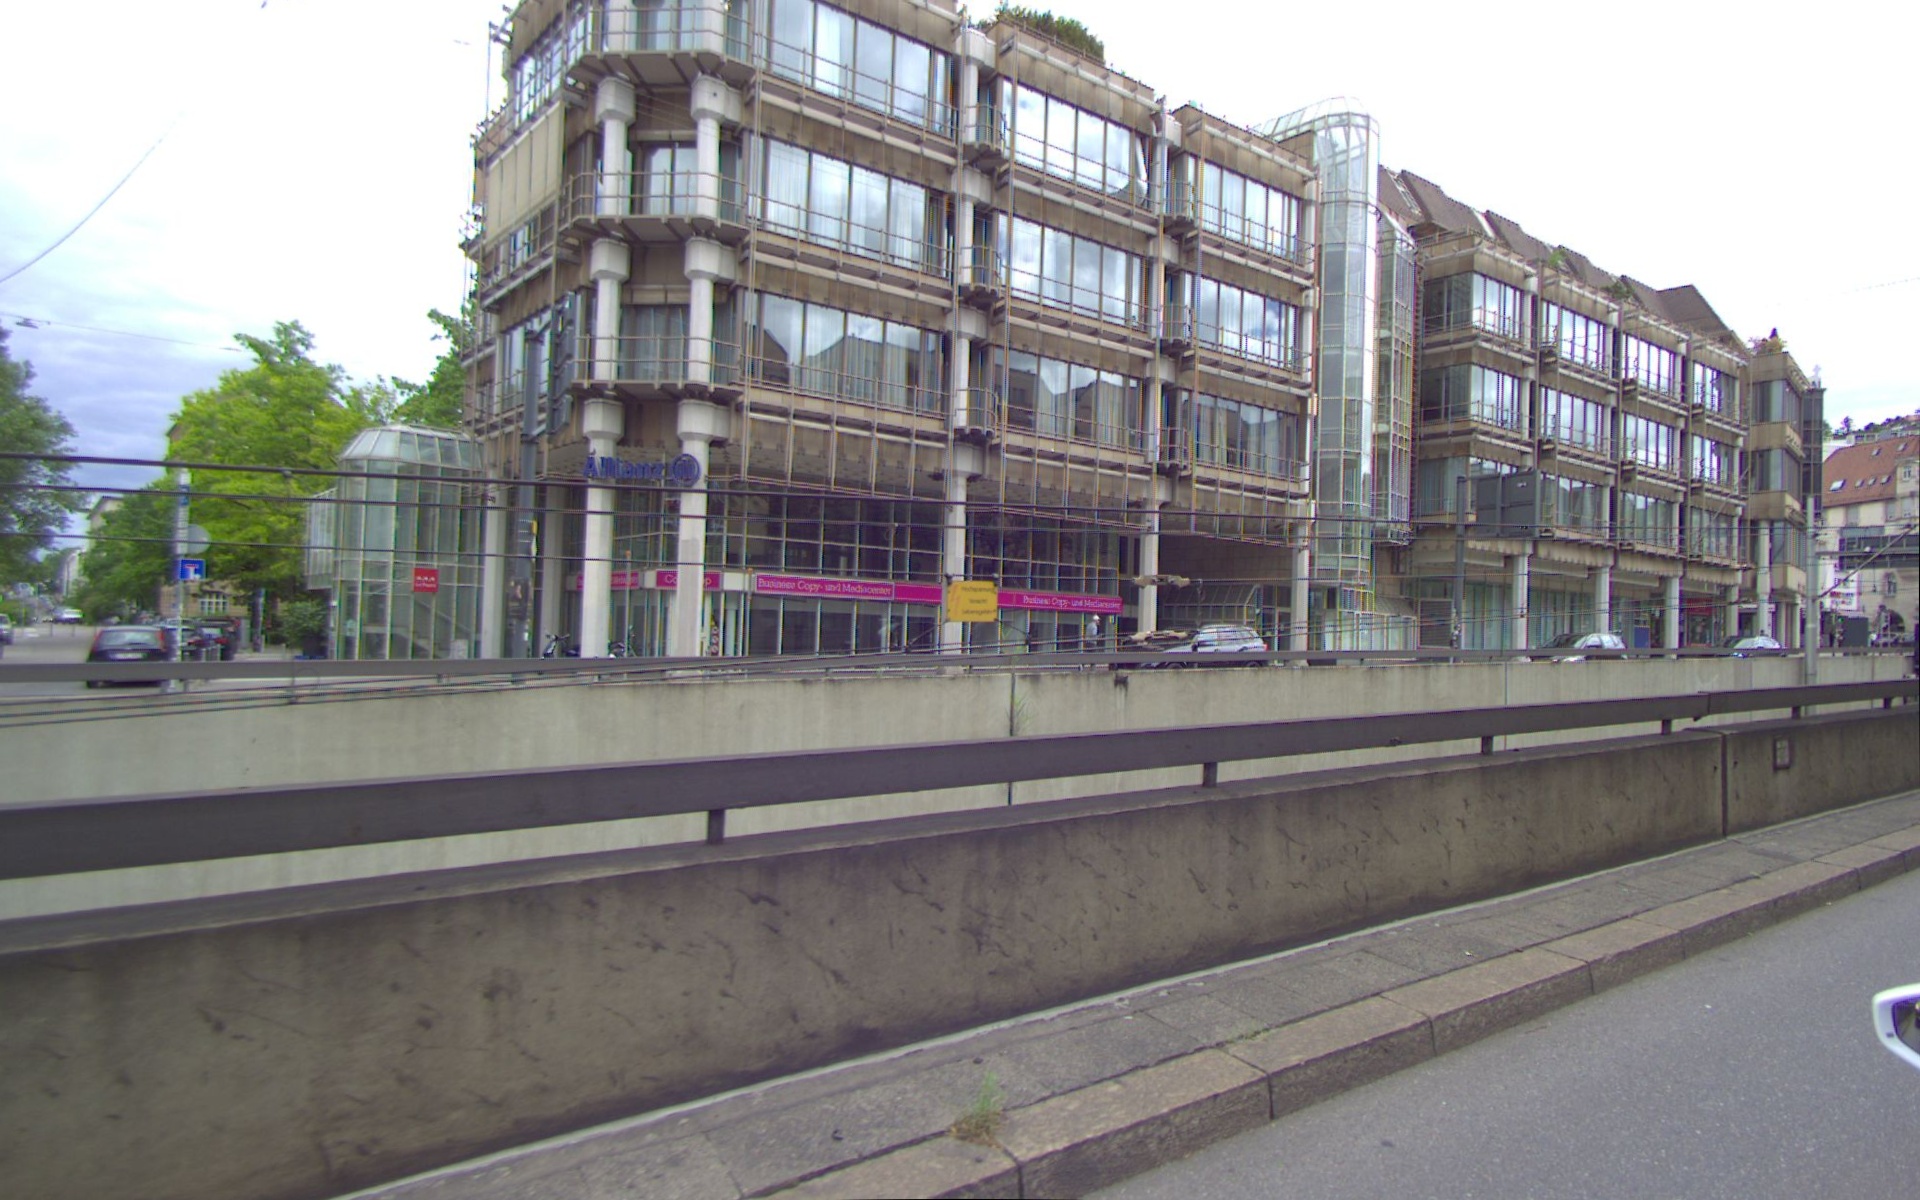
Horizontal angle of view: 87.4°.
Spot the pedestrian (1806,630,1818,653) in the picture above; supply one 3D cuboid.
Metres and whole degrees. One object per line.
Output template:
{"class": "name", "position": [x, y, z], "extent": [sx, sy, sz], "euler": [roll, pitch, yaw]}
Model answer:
{"class": "pedestrian", "position": [69.059, 3.371, 81.442], "extent": [0.569, 1.803, 0.508], "euler": [1, -1, -23]}

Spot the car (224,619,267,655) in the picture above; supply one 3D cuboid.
{"class": "car", "position": [-34.709, 1.792, 48.840], "extent": [1.634, 1.683, 3.565], "euler": [2, -2, -35]}

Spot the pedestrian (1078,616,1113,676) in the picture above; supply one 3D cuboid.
{"class": "pedestrian", "position": [4.261, 1.437, 31.601], "extent": [0.731, 1.816, 0.727], "euler": [2, 0, -31]}

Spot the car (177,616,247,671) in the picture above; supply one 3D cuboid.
{"class": "car", "position": [-24.120, 1.364, 32.485], "extent": [1.634, 1.683, 3.565], "euler": [2, -2, -35]}

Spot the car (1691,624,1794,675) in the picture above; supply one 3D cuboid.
{"class": "car", "position": [32.492, 2.058, 41.689], "extent": [4.331, 1.939, 1.982], "euler": [3, -1, -32]}

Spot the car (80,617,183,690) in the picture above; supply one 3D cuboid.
{"class": "car", "position": [-20.488, 1.277, 24.959], "extent": [1.634, 1.683, 3.565], "euler": [2, -2, -35]}

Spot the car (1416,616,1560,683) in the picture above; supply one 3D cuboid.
{"class": "car", "position": [16.773, 1.536, 31.838], "extent": [4.738, 1.989, 1.982], "euler": [2, -2, -33]}

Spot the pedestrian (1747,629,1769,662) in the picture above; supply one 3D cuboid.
{"class": "pedestrian", "position": [45.982, 2.617, 57.869], "extent": [0.731, 1.835, 0.727], "euler": [2, 0, -31]}

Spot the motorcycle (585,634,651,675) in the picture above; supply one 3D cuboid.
{"class": "motorcycle", "position": [-9.621, 1.520, 28.291], "extent": [0.634, 1.089, 1.666], "euler": [2, 0, 38]}

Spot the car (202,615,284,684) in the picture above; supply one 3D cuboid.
{"class": "car", "position": [-18.817, 1.245, 26.434], "extent": [1.634, 1.683, 3.565], "euler": [2, -2, -35]}

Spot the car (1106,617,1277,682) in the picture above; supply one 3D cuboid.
{"class": "car", "position": [6.211, 1.294, 26.760], "extent": [4.594, 1.581, 1.803], "euler": [2, -2, -34]}

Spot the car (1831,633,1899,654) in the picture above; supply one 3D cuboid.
{"class": "car", "position": [72.888, 3.479, 80.959], "extent": [3.982, 1.521, 1.662], "euler": [0, -1, 40]}

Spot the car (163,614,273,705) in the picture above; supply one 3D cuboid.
{"class": "car", "position": [-15.145, 1.155, 20.653], "extent": [1.633, 1.683, 3.615], "euler": [2, -2, -34]}

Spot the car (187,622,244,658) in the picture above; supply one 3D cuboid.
{"class": "car", "position": [-26.893, 1.432, 36.342], "extent": [1.524, 1.147, 3.564], "euler": [2, 0, -35]}

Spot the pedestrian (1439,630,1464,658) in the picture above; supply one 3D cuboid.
{"class": "pedestrian", "position": [22.803, 2.050, 46.597], "extent": [0.731, 1.282, 0.727], "euler": [2, 0, -31]}

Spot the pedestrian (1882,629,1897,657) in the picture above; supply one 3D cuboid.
{"class": "pedestrian", "position": [60.176, 2.775, 65.004], "extent": [0.569, 1.803, 0.508], "euler": [1, -1, -23]}
